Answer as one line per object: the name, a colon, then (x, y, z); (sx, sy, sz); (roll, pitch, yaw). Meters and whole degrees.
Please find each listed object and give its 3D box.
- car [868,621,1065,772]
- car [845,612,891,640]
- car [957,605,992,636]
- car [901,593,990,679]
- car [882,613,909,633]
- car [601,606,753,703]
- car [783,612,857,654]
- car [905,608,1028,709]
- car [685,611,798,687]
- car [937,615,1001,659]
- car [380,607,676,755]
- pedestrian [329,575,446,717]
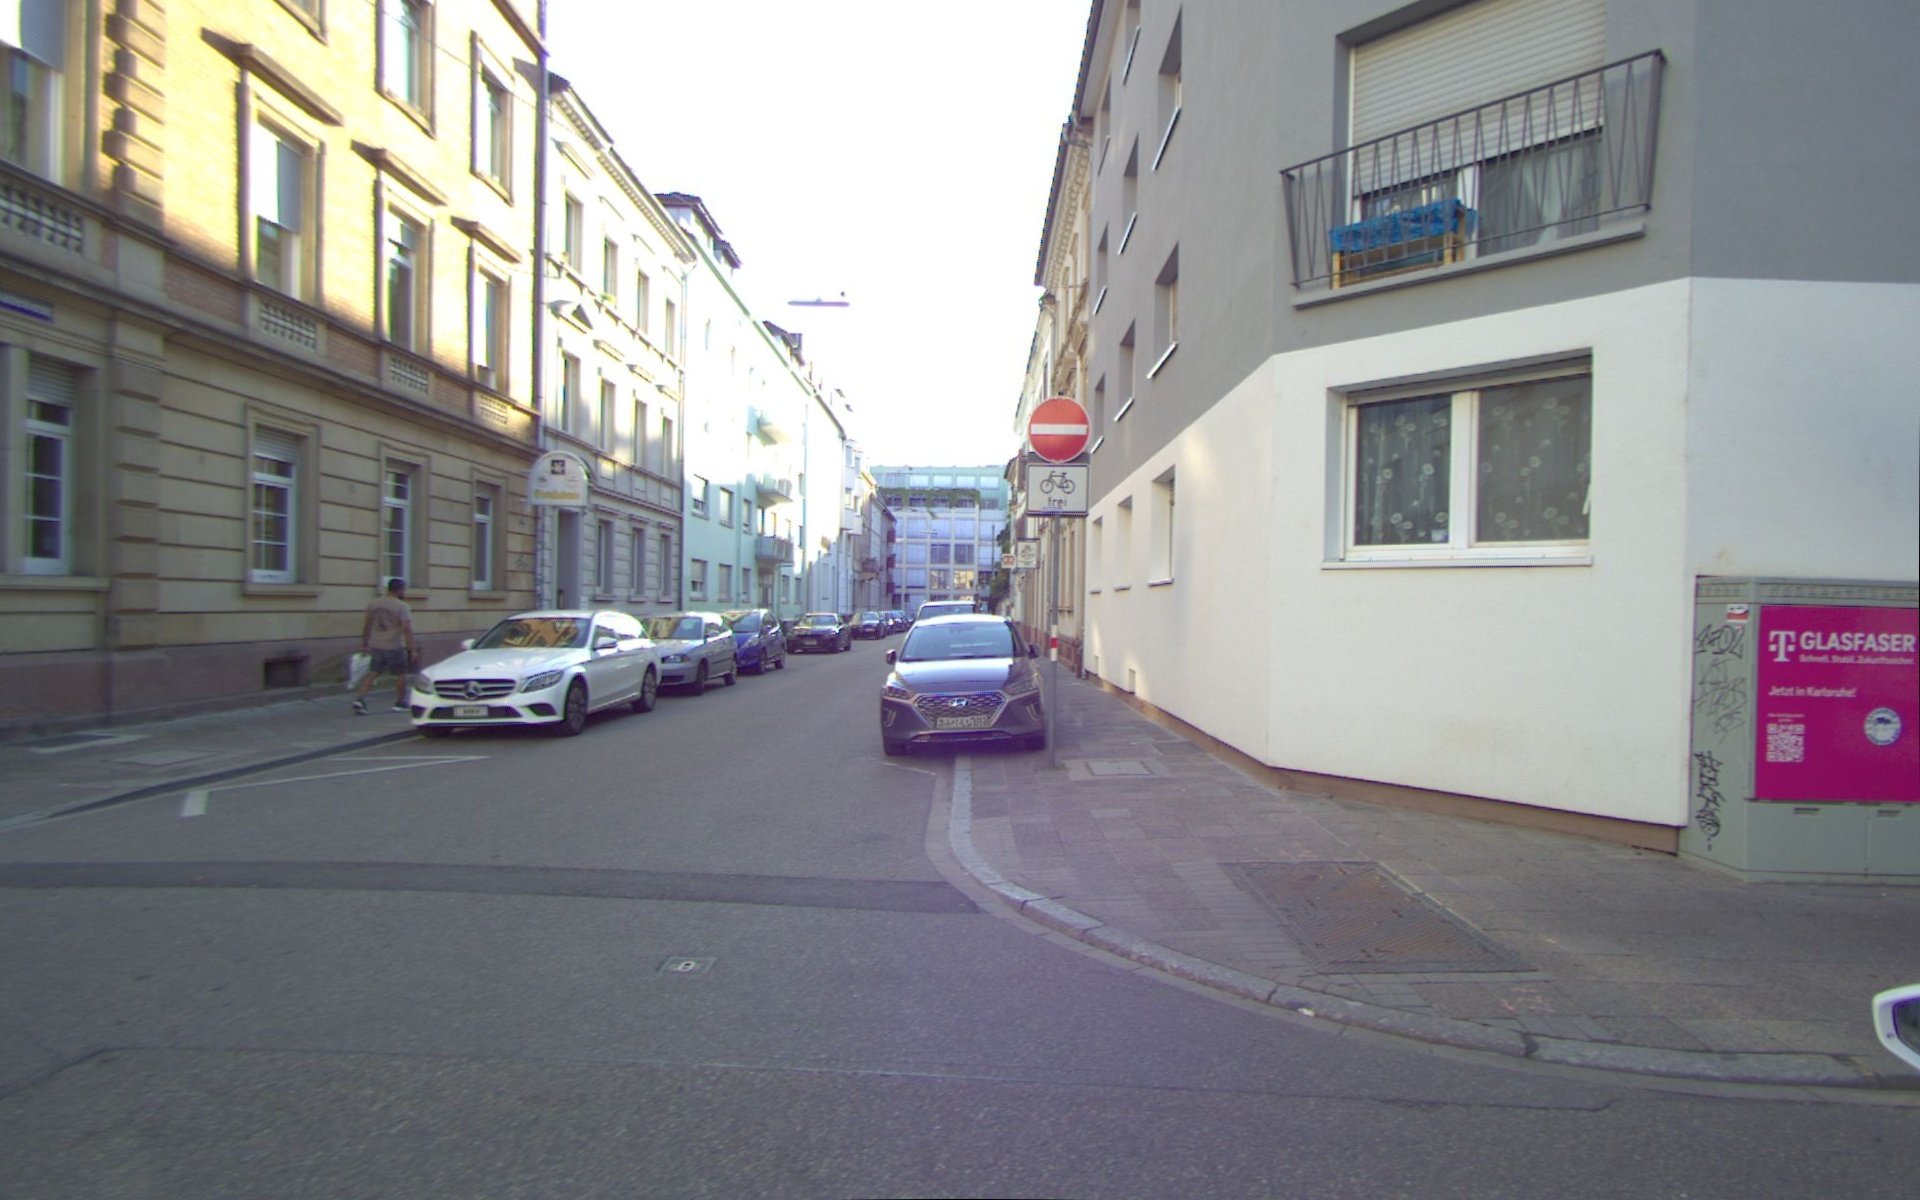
car: (0.059, 0.987, 11.759); (1.906, 1.390, 3.789); (-1, 0, 0)
car: (-4.858, 1.351, 53.607); (2.137, 1.437, 3.999); (1, -1, -1)
car: (0.836, 1.163, 59.068); (1.960, 1.723, 4.000); (1, -1, 0)
car: (-0.308, 0.786, 23.257); (1.862, 1.808, 4.000); (1, -1, 0)
car: (-4.518, 1.580, 70.706); (1.679, 1.320, 4.000); (1, -1, 0)
car: (-5.099, 0.923, 18.573); (1.597, 1.598, 3.755); (1, -1, 2)
car: (-4.909, 1.129, 35.694); (1.960, 1.373, 4.429); (1, -1, 0)
car: (0.114, 0.940, 17.829); (1.931, 1.578, 3.889); (1, -1, 0)
car: (-5.191, 1.112, 24.315); (1.755, 1.681, 3.817); (1, -1, 2)
car: (0.344, 1.187, 33.349); (1.960, 1.304, 4.001); (1, -1, 2)
car: (-5.302, 0.898, 13.105); (1.961, 1.585, 4.506); (0, -1, -1)
pedestrian: (-7.461, 0.584, 13.146); (0.967, 1.765, 1.015); (2, 0, -8)
